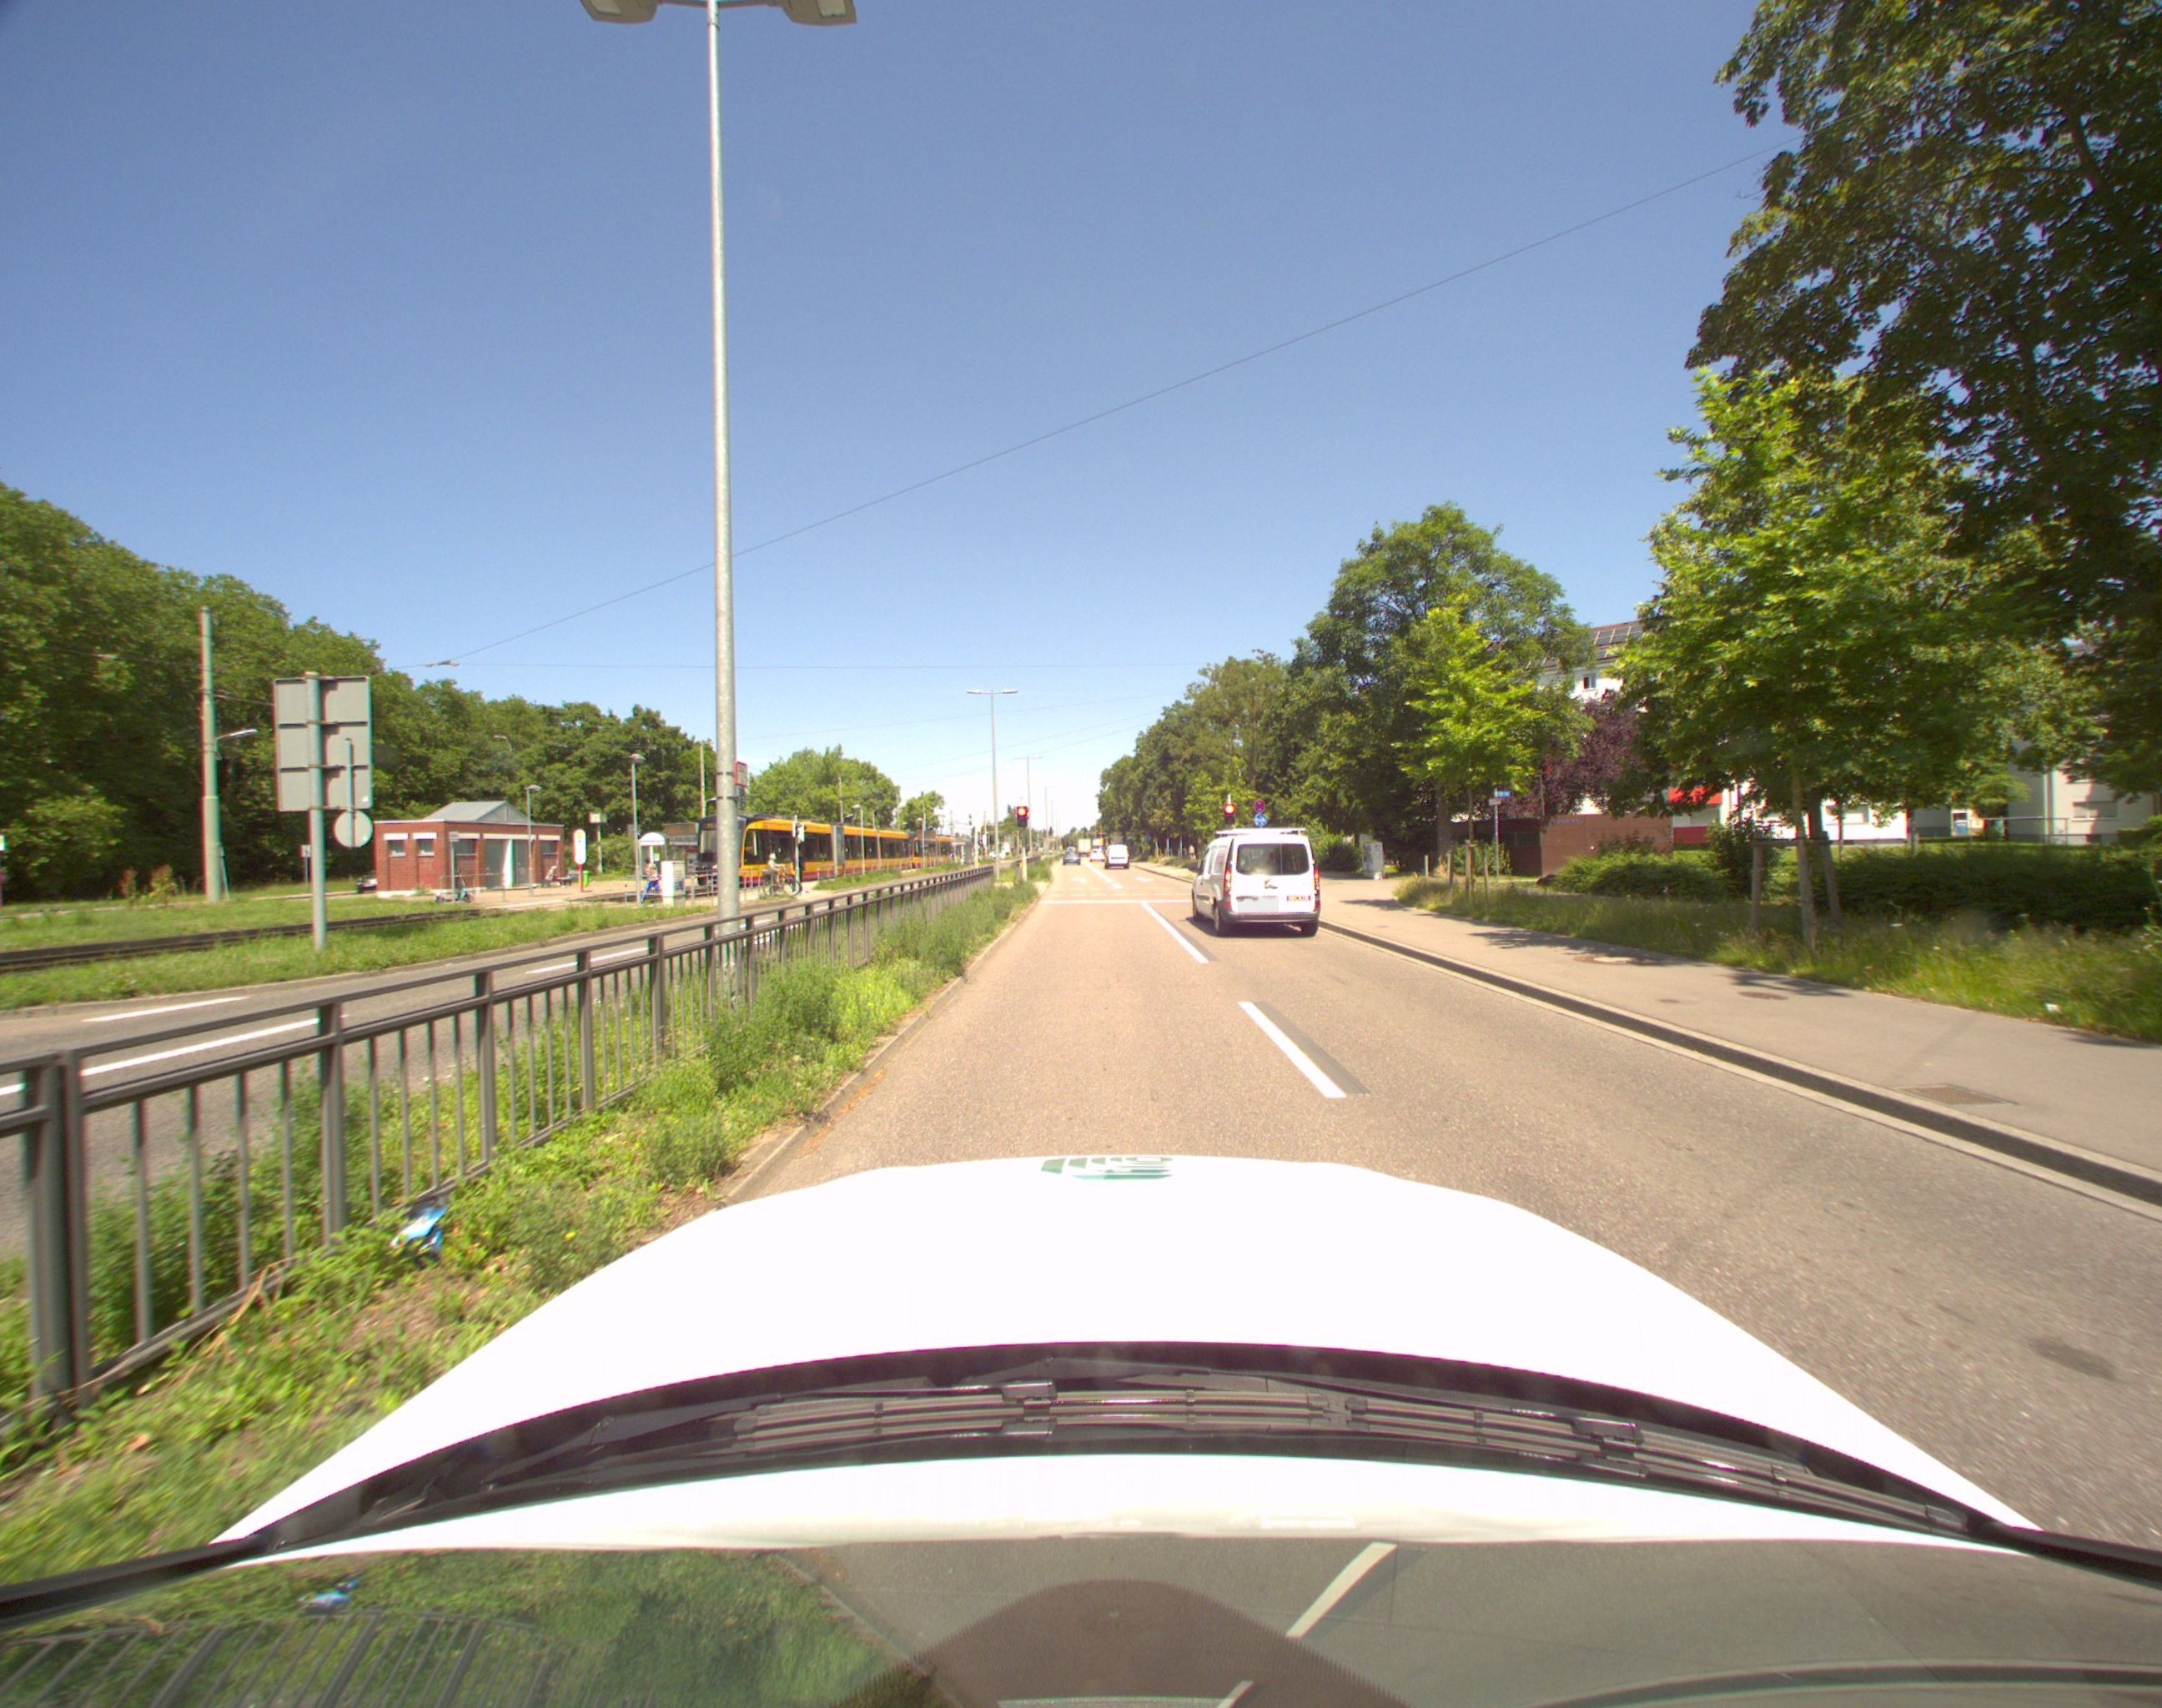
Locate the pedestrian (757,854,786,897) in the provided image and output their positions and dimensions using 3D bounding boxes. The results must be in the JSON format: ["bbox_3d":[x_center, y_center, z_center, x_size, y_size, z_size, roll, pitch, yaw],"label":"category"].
[{"bbox_3d":[-12.235,0.840,32.223,0.815,1.628,0.706,-1,0,5],"label":"pedestrian"}]

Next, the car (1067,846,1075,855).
[{"bbox_3d":[-2.262,-0.819,185.544,1.683,1.897,3.869,-2,0,-1],"label":"car"}]

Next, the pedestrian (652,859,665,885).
[{"bbox_3d":[-23.766,1.010,45.800,0.460,1.435,0.524,-1,0,-3],"label":"pedestrian"}]

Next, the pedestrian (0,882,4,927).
[{"bbox_3d":[-41.078,1.908,30.209,0.511,1.701,1.278,-1,0,44],"label":"pedestrian"}]

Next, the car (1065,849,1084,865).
[{"bbox_3d":[-0.592,0.287,79.298,1.796,1.486,4.000,-1,0,0],"label":"car"}]

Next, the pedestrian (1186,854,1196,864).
[{"bbox_3d":[10.084,0.450,74.762,0.676,0.847,1.773,-1,0,-1],"label":"pedestrian"}]

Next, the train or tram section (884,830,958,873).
[{"bbox_3d":[-16.032,-0.282,84.623,2.779,3.668,25.990,-1,0,0],"label":"train or tram section"}]

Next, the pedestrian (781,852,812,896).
[{"bbox_3d":[-11.916,0.823,34.091,0.949,1.796,0.709,-1,0,28],"label":"pedestrian"}]

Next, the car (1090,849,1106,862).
[{"bbox_3d":[2.009,0.174,99.670,1.798,1.540,3.998,-1,0,-1],"label":"car"}]

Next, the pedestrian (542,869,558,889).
[{"bbox_3d":[-27.685,1.297,42.452,0.479,1.018,0.522,-1,0,1],"label":"pedestrian"}]

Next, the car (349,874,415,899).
[{"bbox_3d":[-46.205,2.117,53.932,2.001,1.467,3.972,-1,0,-21],"label":"car"}]

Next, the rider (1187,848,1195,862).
[{"bbox_3d":[10.088,0.089,74.701,0.676,1.281,0.533,-1,0,-1],"label":"rider"}]

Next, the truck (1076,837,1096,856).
[{"bbox_3d":[0.887,-1.496,169.308,3.887,3.812,10.789,-2,0,-1],"label":"truck"}]

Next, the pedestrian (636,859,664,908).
[{"bbox_3d":[-14.129,0.959,26.708,0.858,1.541,0.541,-1,0,45],"label":"pedestrian"}]

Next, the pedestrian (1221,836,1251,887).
[{"bbox_3d":[5.727,0.272,29.991,1.039,1.850,0.760,-1,0,12],"label":"pedestrian"}]

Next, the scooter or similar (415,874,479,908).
[{"bbox_3d":[-22.234,1.283,28.573,0.605,1.127,1.684,-1,0,43],"label":"scooter or similar"}]

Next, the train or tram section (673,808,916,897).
[{"bbox_3d":[-15.806,-0.147,52.883,2.779,3.668,37.506,-1,0,0],"label":"train or tram section"}]

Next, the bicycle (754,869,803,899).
[{"bbox_3d":[-11.917,1.174,32.075,1.854,1.157,0.243,-1,0,4],"label":"bicycle"}]

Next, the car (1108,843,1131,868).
[{"bbox_3d":[2.934,0.083,61.463,1.720,1.813,4.004,0,1,4],"label":"car"}]

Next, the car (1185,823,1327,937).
[{"bbox_3d":[3.203,0.418,15.809,1.818,1.881,4.455,0,0,0],"label":"car"}]
